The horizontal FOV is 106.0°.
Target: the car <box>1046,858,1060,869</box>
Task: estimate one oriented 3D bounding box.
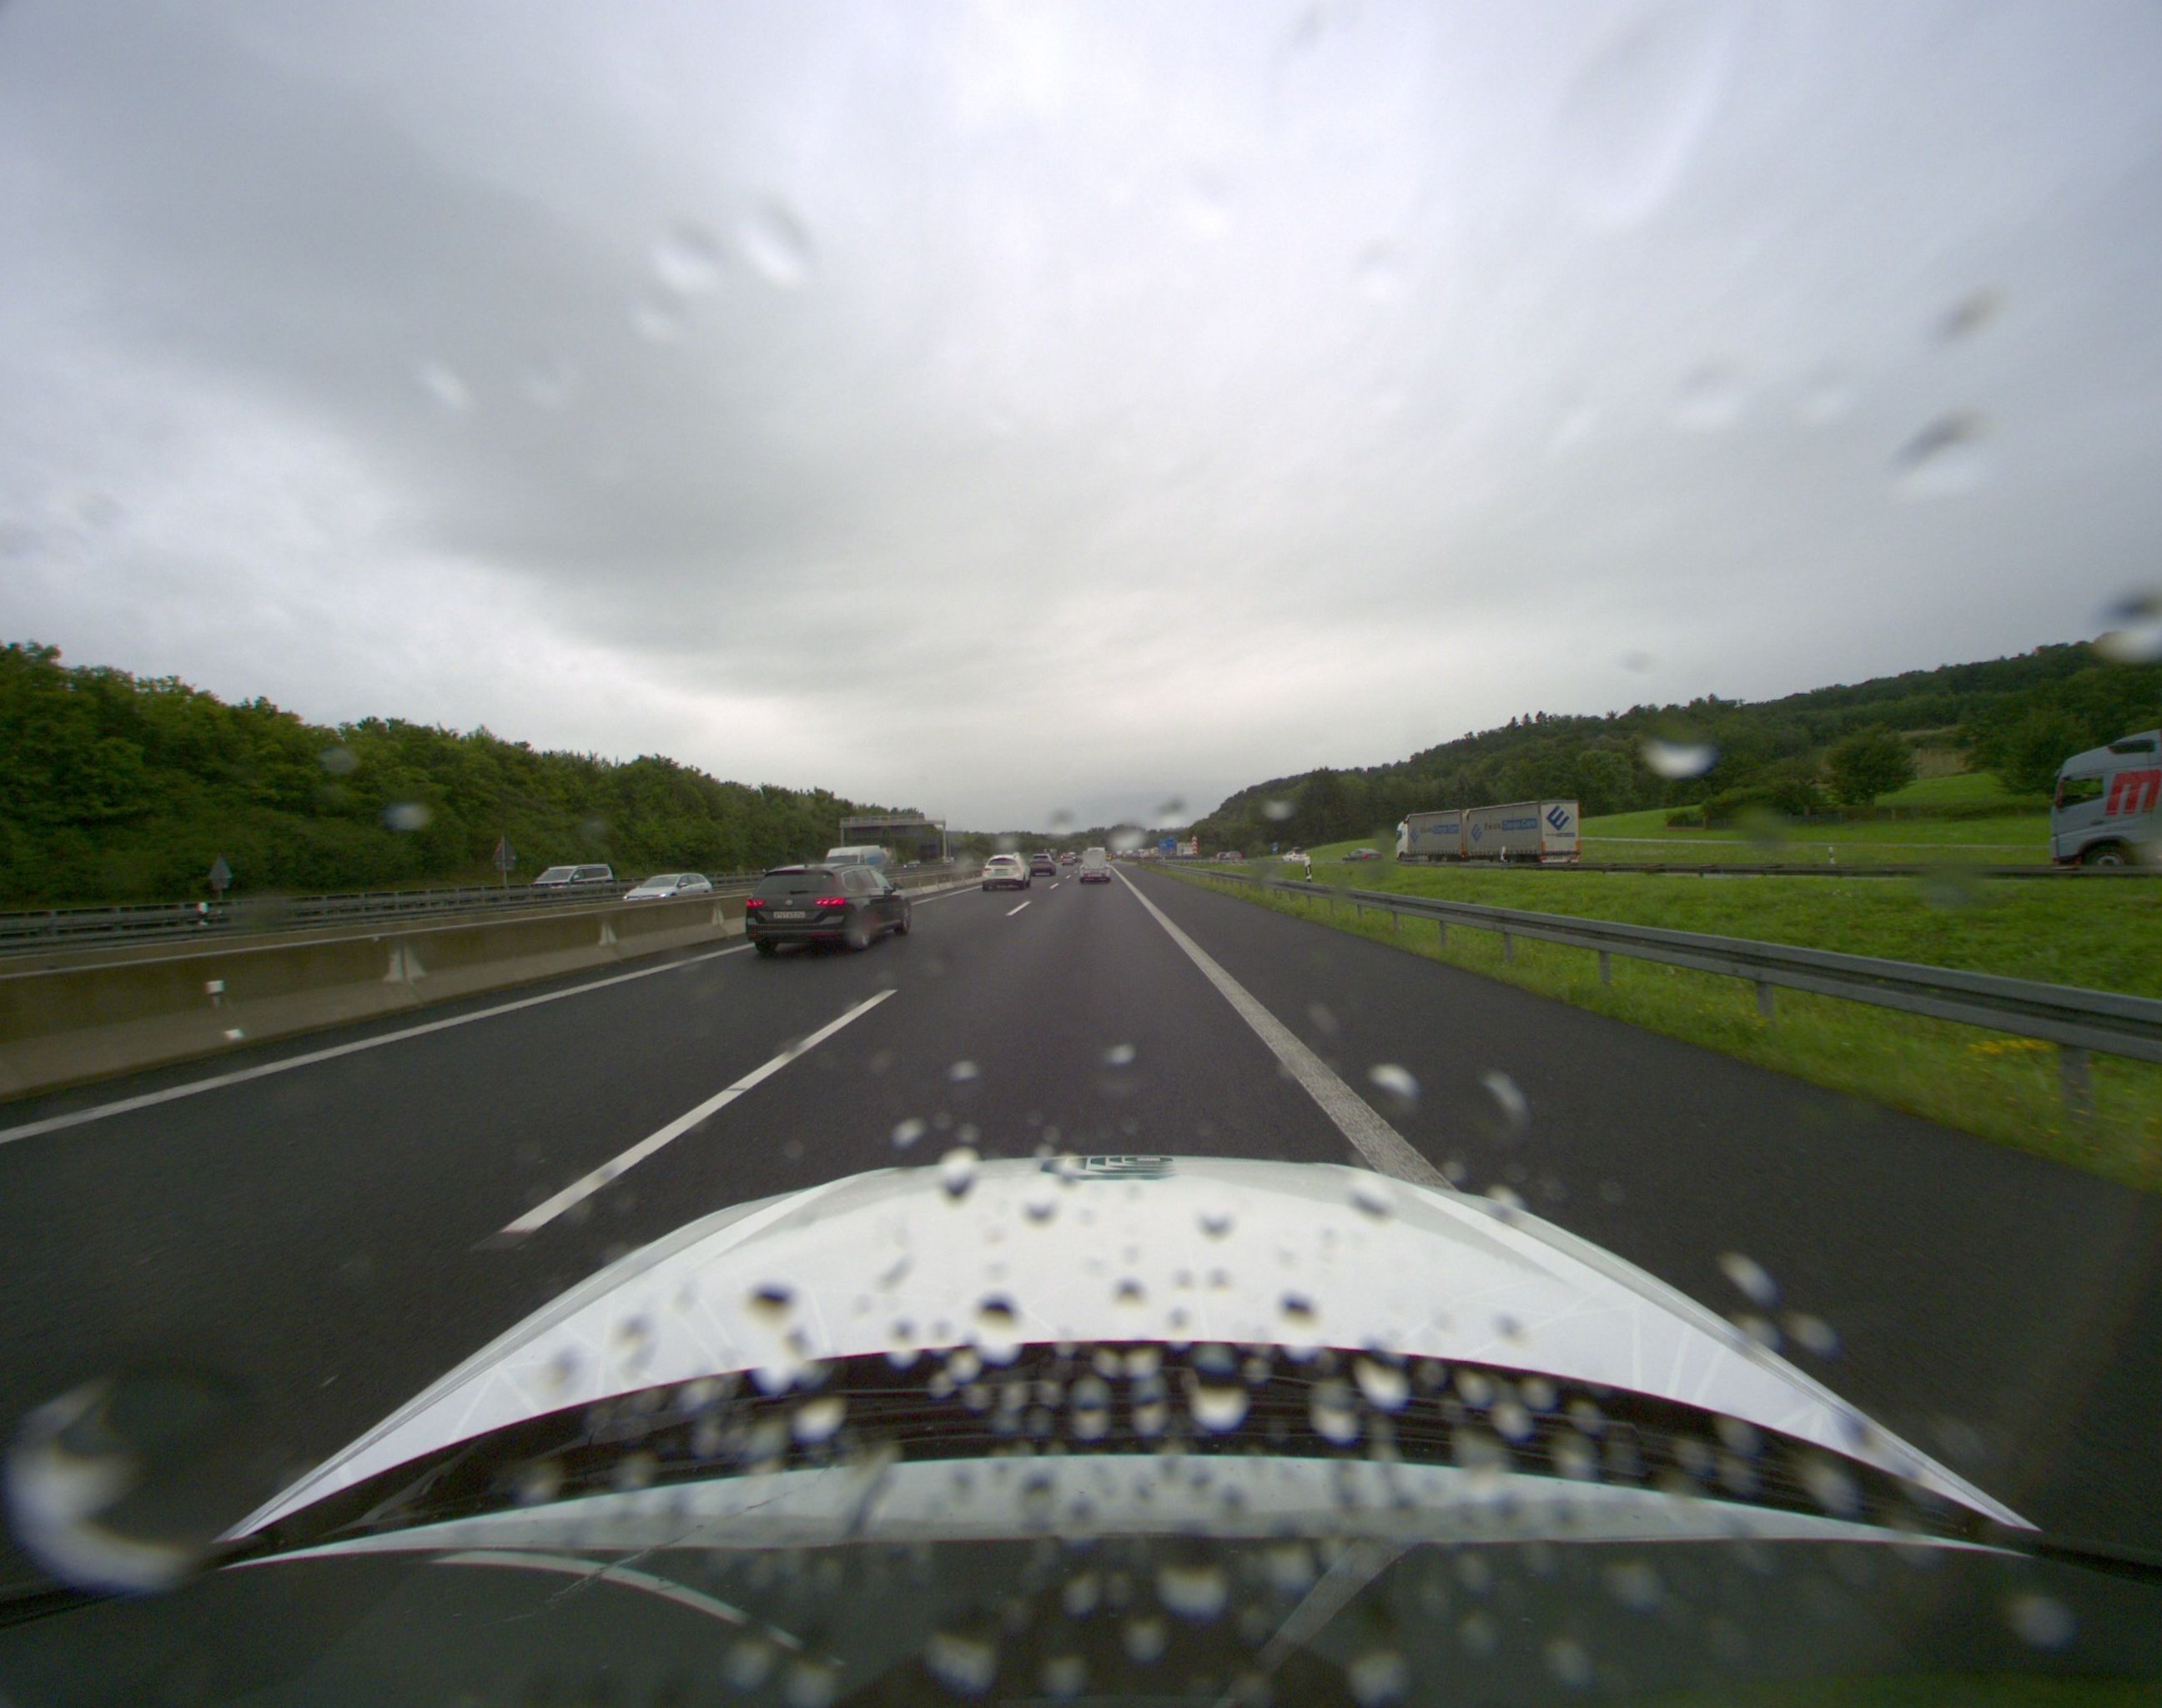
[{"bbox_3d":[-4.121,1.417,122.075,1.812,1.662,4.018,-2,0,2],"label":"car"}]

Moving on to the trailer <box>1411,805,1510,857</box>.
[{"bbox_3d":[27.790,-1.580,60.200,2.933,3.527,8.406,0,0,-4],"label":"trailer"}]

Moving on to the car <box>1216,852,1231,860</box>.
[{"bbox_3d":[22.137,0.342,126.580,1.691,1.288,3.536,0,-1,2],"label":"car"}]

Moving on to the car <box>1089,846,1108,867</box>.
[{"bbox_3d":[2.321,0.337,111.463,2.325,2.725,6.537,-1,0,-1],"label":"car"}]

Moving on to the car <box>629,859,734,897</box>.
[{"bbox_3d":[-16.501,0.934,33.928,1.986,1.435,4.680,0,0,1],"label":"car"}]

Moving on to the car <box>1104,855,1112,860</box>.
[{"bbox_3d":[8.048,1.048,241.772,1.989,1.552,3.995,0,0,-4],"label":"car"}]

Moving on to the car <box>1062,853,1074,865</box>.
[{"bbox_3d":[-2.095,0.765,130.738,1.732,1.794,4.001,-1,0,1],"label":"car"}]

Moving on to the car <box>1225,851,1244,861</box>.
[{"bbox_3d":[19.565,0.265,104.170,1.536,1.288,3.529,0,-1,-4],"label":"car"}]

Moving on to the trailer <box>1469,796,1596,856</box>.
[{"bbox_3d":[28.500,-1.622,51.957,3.073,3.527,8.069,0,0,-5],"label":"trailer"}]

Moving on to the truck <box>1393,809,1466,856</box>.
[{"bbox_3d":[27.405,-1.592,64.335,2.933,3.527,5.918,0,0,-4],"label":"truck"}]

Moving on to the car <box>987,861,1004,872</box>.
[{"bbox_3d":[-12.664,1.836,120.950,1.987,1.650,5.026,0,0,0],"label":"car"}]

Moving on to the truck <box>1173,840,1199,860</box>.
[{"bbox_3d":[20.621,-0.751,160.052,3.816,3.659,8.264,0,0,-2],"label":"truck"}]

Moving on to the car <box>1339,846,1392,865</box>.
[{"bbox_3d":[22.190,0.131,63.707,1.982,1.377,5.311,-1,0,-4],"label":"car"}]

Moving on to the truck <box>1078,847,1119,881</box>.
[{"bbox_3d":[0.983,0.538,47.656,2.234,1.839,6.584,-1,0,1],"label":"truck"}]

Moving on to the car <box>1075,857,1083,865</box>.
[{"bbox_3d":[-0.456,1.433,172.366,1.639,1.574,4.001,0,0,2],"label":"car"}]

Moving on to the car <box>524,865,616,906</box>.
[{"bbox_3d":[-27.612,1.650,44.222,1.987,2.014,4.715,-1,0,0],"label":"car"}]

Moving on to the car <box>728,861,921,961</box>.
[{"bbox_3d":[-4.339,0.877,14.683,1.780,1.459,4.804,-1,0,2],"label":"car"}]

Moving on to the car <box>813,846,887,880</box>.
[{"bbox_3d":[-12.628,0.455,44.964,2.350,1.693,5.905,-2,0,0],"label":"car"}]

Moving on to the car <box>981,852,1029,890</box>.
[{"bbox_3d":[-3.563,0.781,38.947,2.044,1.670,4.536,-1,0,-3],"label":"car"}]

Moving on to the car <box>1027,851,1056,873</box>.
[{"bbox_3d":[-3.126,0.600,65.077,1.969,1.703,4.803,-1,0,1],"label":"car"}]

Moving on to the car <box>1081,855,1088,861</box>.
[{"bbox_3d":[0.842,0.935,212.340,1.639,1.574,4.001,0,0,2],"label":"car"}]

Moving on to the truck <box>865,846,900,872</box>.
[{"bbox_3d":[-29.427,0.722,121.228,2.676,3.661,9.558,-2,0,1],"label":"truck"}]

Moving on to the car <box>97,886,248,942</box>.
[{"bbox_3d":[-38.063,2.465,34.285,1.743,2.013,4.002,-2,0,2],"label":"car"}]

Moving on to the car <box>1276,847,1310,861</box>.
[{"bbox_3d":[23.763,0.015,91.277,1.984,1.377,5.067,-2,0,-7],"label":"car"}]

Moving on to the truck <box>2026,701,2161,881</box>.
[{"bbox_3d":[29.695,-1.694,15.081,3.814,4.540,16.855,-1,0,-5],"label":"truck"}]
